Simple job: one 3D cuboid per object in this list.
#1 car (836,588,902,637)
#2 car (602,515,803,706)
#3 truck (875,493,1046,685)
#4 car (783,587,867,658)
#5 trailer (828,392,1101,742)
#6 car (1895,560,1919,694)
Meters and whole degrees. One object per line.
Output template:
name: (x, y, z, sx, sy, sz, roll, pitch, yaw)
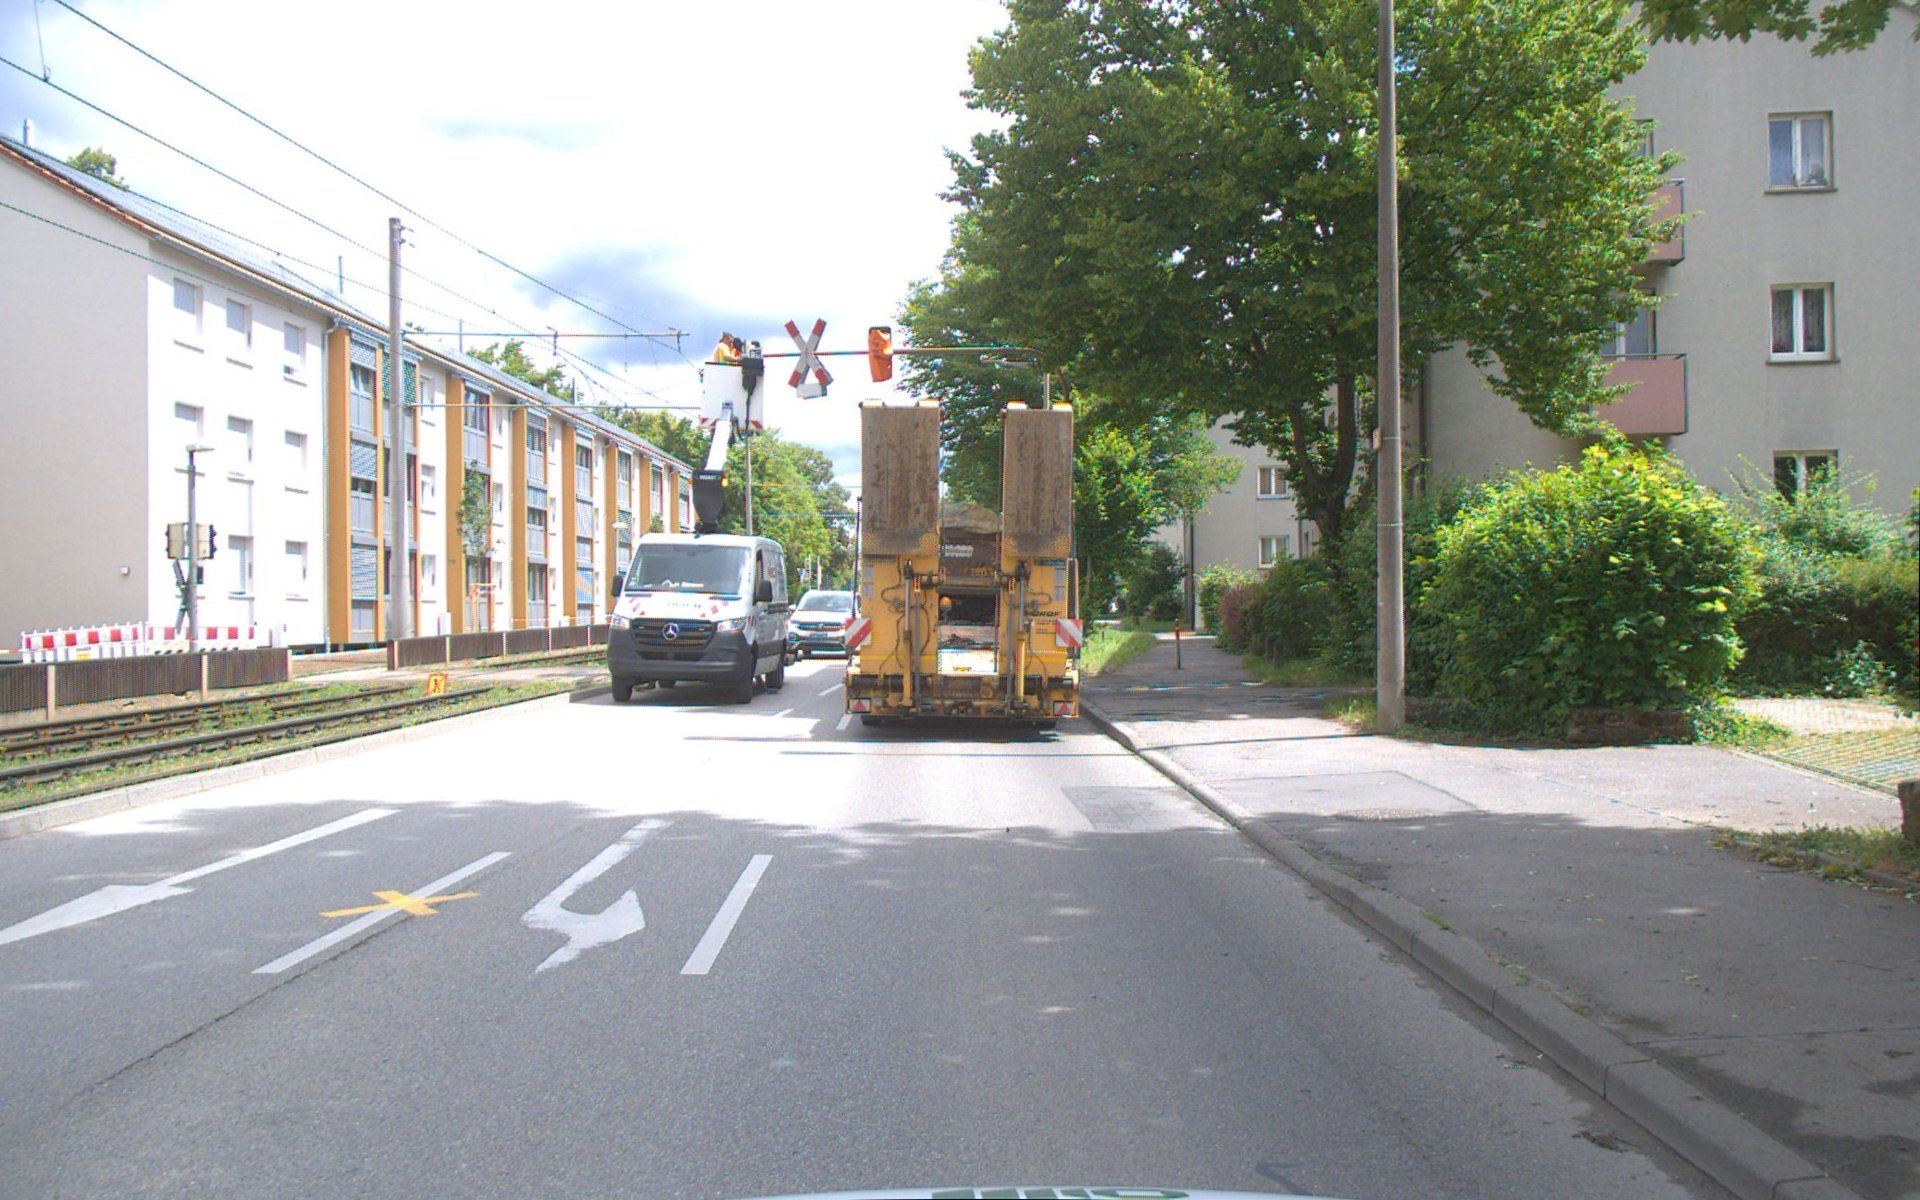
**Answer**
car: (-3.015, 0.393, 55.557, 1.840, 1.507, 4.529, 1, 0, 1)
car: (-3.678, 0.122, 24.865, 1.952, 2.473, 6.322, 1, 0, 0)
truck: (0.023, -0.211, 32.087, 2.857, 3.222, 7.680, 1, 0, 0)
car: (-3.177, 0.511, 39.537, 1.683, 1.579, 3.917, 1, 0, -1)
trailer: (0.029, -0.365, 22.729, 2.765, 3.585, 11.051, 1, 0, 0)
car: (11.348, 0.296, 17.277, 1.627, 1.506, 3.696, -2, 0, 11)
